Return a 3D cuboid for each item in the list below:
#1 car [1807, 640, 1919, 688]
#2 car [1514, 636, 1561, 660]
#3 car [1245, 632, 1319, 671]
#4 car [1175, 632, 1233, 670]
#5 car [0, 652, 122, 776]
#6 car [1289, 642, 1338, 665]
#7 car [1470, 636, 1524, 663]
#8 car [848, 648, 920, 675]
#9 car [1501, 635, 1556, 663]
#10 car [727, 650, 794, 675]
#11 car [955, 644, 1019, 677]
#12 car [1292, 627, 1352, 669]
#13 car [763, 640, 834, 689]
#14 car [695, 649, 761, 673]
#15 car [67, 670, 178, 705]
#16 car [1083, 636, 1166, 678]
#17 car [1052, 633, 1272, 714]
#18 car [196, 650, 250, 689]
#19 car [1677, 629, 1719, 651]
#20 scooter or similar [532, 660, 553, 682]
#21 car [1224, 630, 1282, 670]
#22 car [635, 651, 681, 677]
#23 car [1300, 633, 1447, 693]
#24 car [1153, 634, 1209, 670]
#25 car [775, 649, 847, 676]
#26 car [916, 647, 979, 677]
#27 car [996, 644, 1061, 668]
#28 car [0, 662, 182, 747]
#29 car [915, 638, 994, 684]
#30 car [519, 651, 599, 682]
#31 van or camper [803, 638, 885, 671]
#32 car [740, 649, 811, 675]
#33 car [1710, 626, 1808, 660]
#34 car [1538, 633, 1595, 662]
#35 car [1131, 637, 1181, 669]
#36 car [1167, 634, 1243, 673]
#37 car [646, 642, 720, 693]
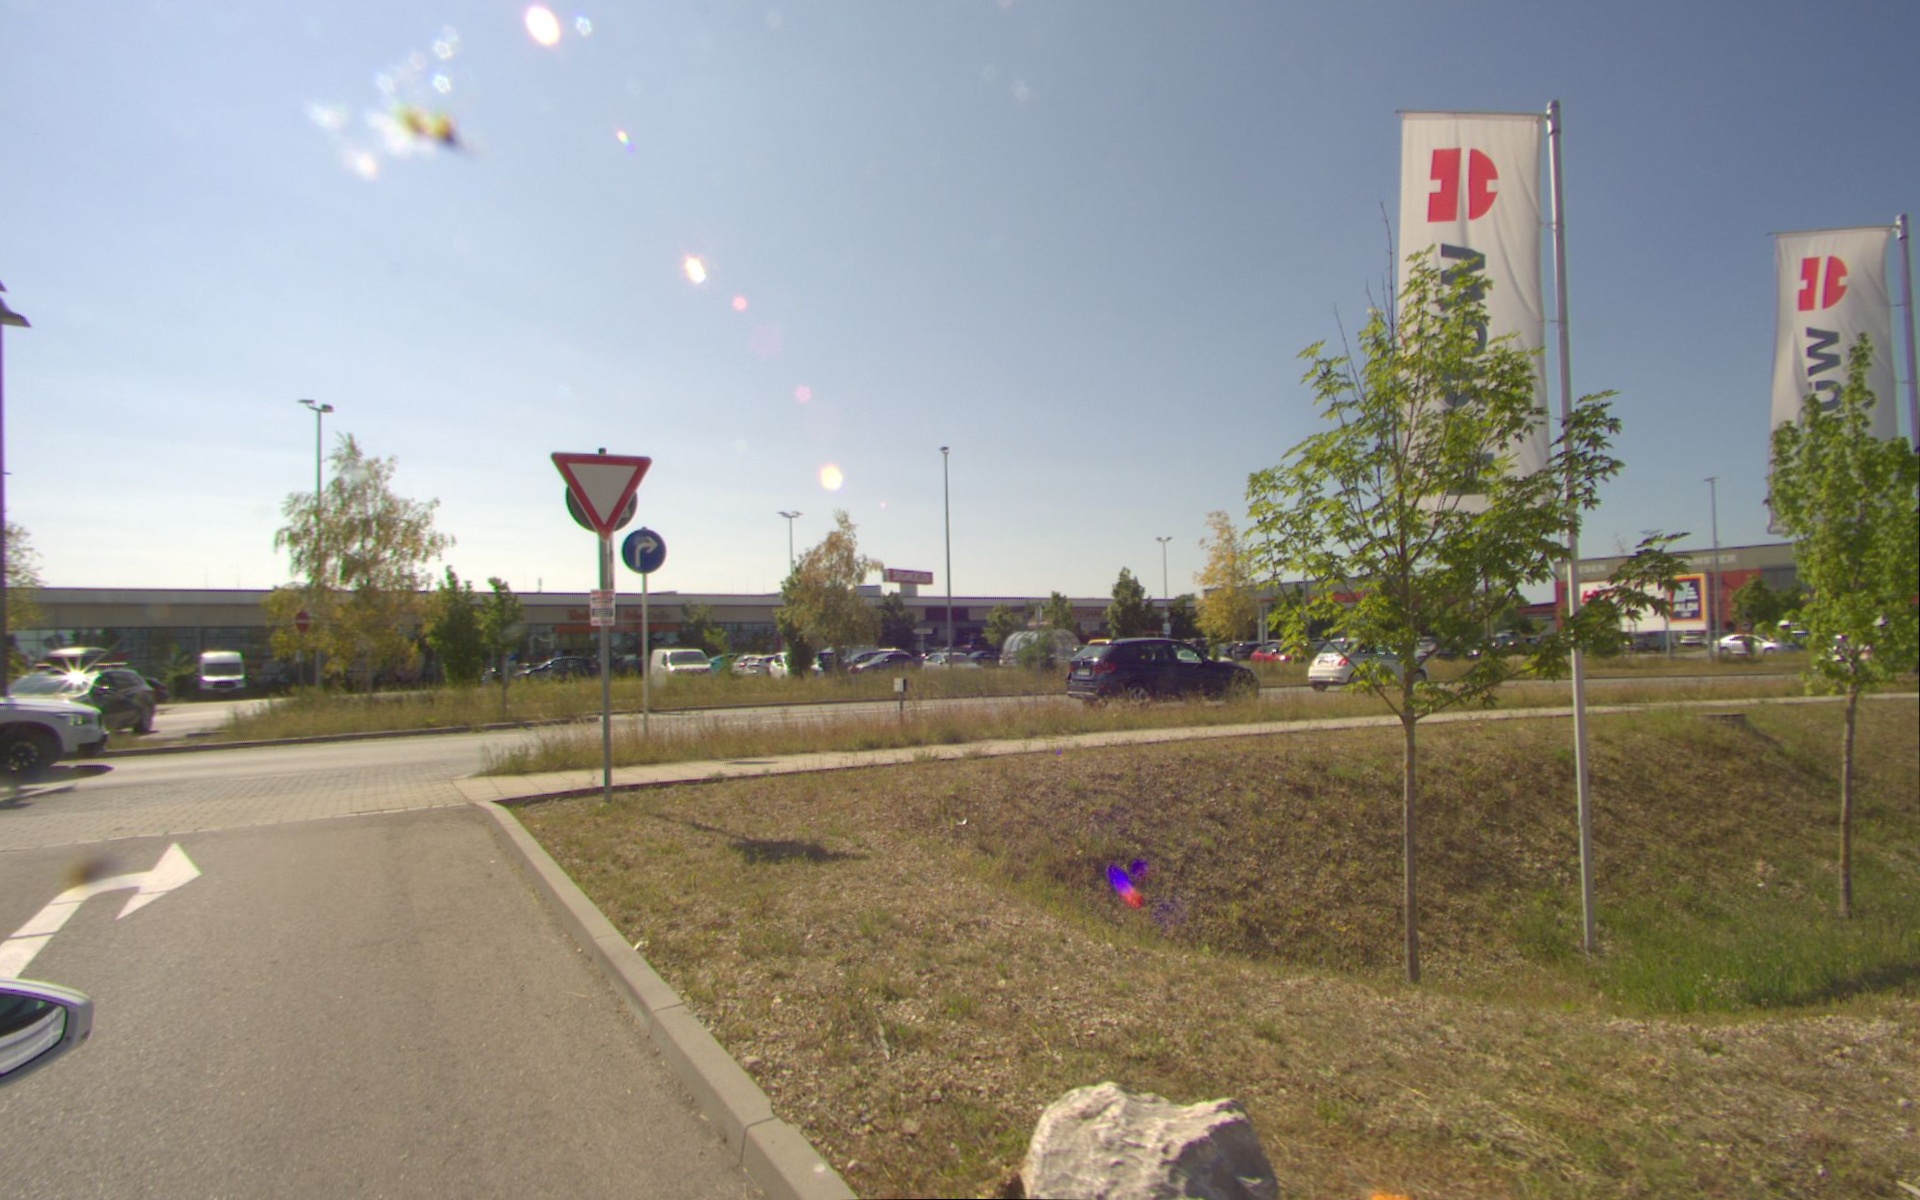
[{"bbox_3d":[32.658,2.223,35.363,4.677,1.570,1.945,0,-3,-17],"label":"car"},{"bbox_3d":[52.120,4.359,90.401,4.428,2.062,1.988,1,-4,-35],"label":"car"},{"bbox_3d":[17.780,2.873,55.506,1.849,2.038,4.134,0,-3,-16],"label":"car"},{"bbox_3d":[19.102,4.005,78.344,4.428,2.856,1.988,1,-4,-35],"label":"car"},{"bbox_3d":[-13.687,1.493,12.755,4.516,1.570,1.729,1,-4,-38],"label":"car"},{"bbox_3d":[32.606,4.932,92.274,4.428,2.062,1.988,1,-4,-35],"label":"car"},{"bbox_3d":[42.918,3.946,80.044,4.428,2.062,1.988,1,-4,-35],"label":"car"},{"bbox_3d":[-4.591,3.735,60.704,3.948,1.526,1.864,1,-4,-34],"label":"car"},{"bbox_3d":[44.064,3.769,77.577,4.428,2.062,1.988,1,-4,-35],"label":"car"},{"bbox_3d":[-12.217,3.816,61.360,3.689,1.408,1.719,1,-3,-39],"label":"car"},{"bbox_3d":[1.985,4.341,71.978,4.437,2.218,1.984,2,-4,-41],"label":"car"},{"bbox_3d":[25.252,3.338,69.737,4.437,2.856,1.984,1,-4,-41],"label":"car"},{"bbox_3d":[-7.378,2.909,45.357,2.128,2.038,5.105,0,-3,-21],"label":"car"},{"bbox_3d":[-14.615,3.830,63.201,3.689,1.408,1.719,1,-3,-39],"label":"car"},{"bbox_3d":[-37.954,3.951,45.494,3.802,1.440,1.759,1,-4,-39],"label":"car"},{"bbox_3d":[8.522,2.956,52.280,2.127,2.038,5.109,0,-3,-18],"label":"car"},{"bbox_3d":[4.358,1.548,21.598,4.318,1.570,1.909,0,-3,-24],"label":"car"},{"bbox_3d":[-41.858,3.915,56.819,2.204,2.002,6.646,0,-3,-39],"label":"car"},{"bbox_3d":[73.121,3.994,99.235,4.428,2.062,1.988,1,-4,-35],"label":"car"},{"bbox_3d":[-21.794,3.712,52.297,0.933,1.093,0.649,0,-2,-31],"label":"scooter or similar"},{"bbox_3d":[21.611,3.671,73.815,4.437,2.856,1.984,1,-4,-41],"label":"car"},{"bbox_3d":[-21.436,4.509,70.967,1.975,1.728,3.974,0,-3,-36],"label":"car"},{"bbox_3d":[11.772,1.779,28.542,3.722,1.570,1.737,0,-3,-24],"label":"car"},{"bbox_3d":[17.910,4.199,81.073,4.428,2.856,1.988,1,-4,-35],"label":"car"},{"bbox_3d":[-8.494,3.530,57.108,3.689,1.408,1.719,1,-3,-39],"label":"car"},{"bbox_3d":[-0.982,4.748,76.956,4.422,2.149,1.991,1,-3,-31],"label":"car"},{"bbox_3d":[4.635,3.801,67.782,4.293,1.538,1.646,1,-4,-34],"label":"car"},{"bbox_3d":[-18.236,2.092,20.719,1.964,1.535,4.193,0,-3,-16],"label":"car"},{"bbox_3d":[-0.351,2.938,48.552,2.128,2.038,5.105,0,-3,-21],"label":"car"},{"bbox_3d":[-21.761,3.575,54.356,3.757,1.527,1.721,0,-3,-35],"label":"car"},{"bbox_3d":[-7.530,3.547,65.244,4.985,2.039,1.989,1,-3,-33],"label":"van or camper"},{"bbox_3d":[-10.796,3.640,58.683,3.689,1.408,1.719,1,-3,-39],"label":"car"},{"bbox_3d":[51.300,2.796,64.369,1.968,2.062,4.474,0,-4,-23],"label":"car"},{"bbox_3d":[45.581,3.590,75.218,4.428,2.062,1.988,1,-4,-35],"label":"car"},{"bbox_3d":[17.893,4.825,91.360,4.428,2.856,1.988,1,-4,-35],"label":"car"},{"bbox_3d":[13.178,2.888,54.068,1.910,2.038,4.404,0,-3,-18],"label":"car"},{"bbox_3d":[-11.965,2.870,42.996,2.056,2.038,5.209,0,-3,-27],"label":"car"}]
